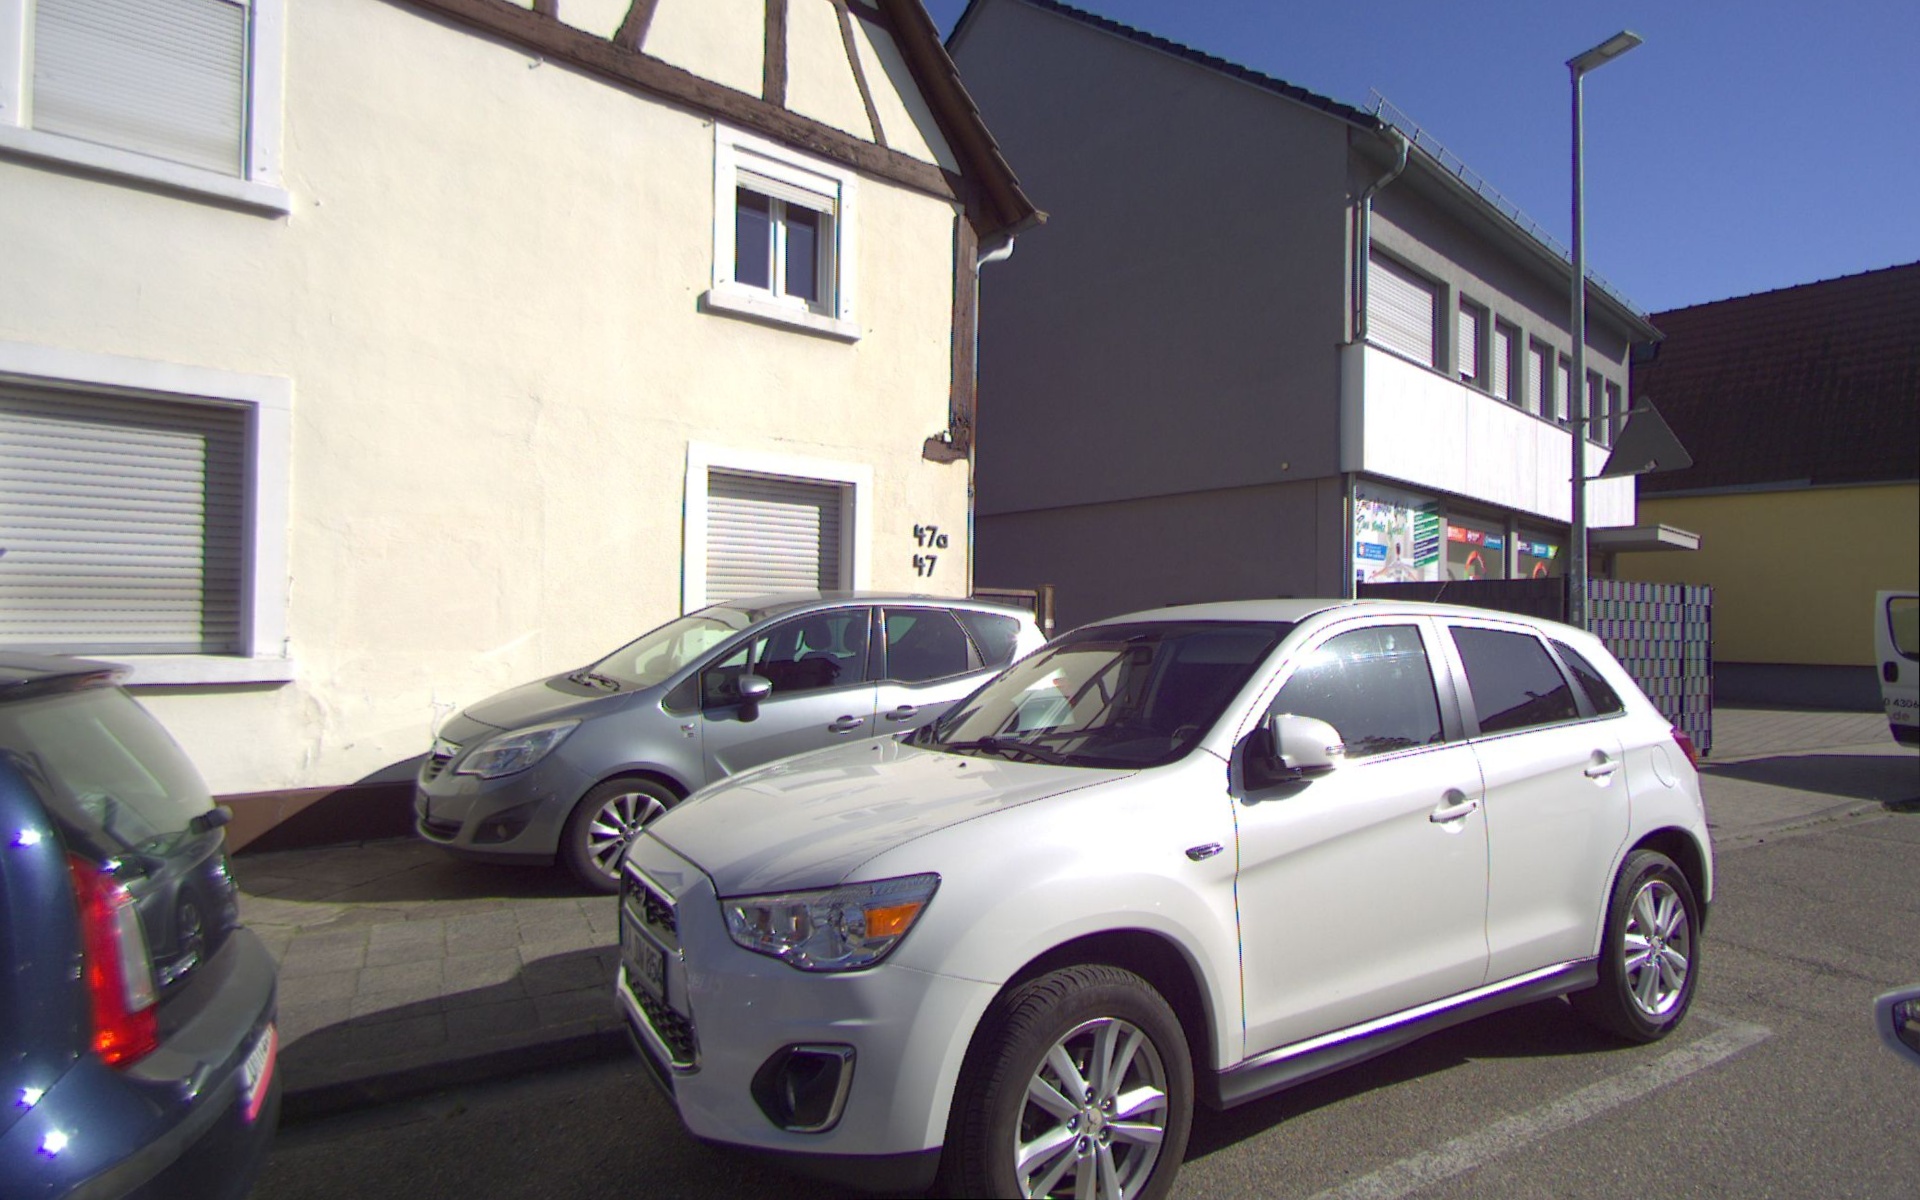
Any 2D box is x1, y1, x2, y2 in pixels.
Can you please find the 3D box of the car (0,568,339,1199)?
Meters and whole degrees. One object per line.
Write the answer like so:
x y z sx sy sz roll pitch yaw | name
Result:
-3.045 0.713 1.403 3.642 1.527 1.647 1 -2 -31 | car

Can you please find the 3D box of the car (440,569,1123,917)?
-0.974 0.715 6.518 4.072 1.608 1.631 2 -2 -36 | car

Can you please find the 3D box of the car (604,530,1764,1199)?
0.997 0.757 3.651 4.065 1.639 1.714 1 -2 -31 | car
